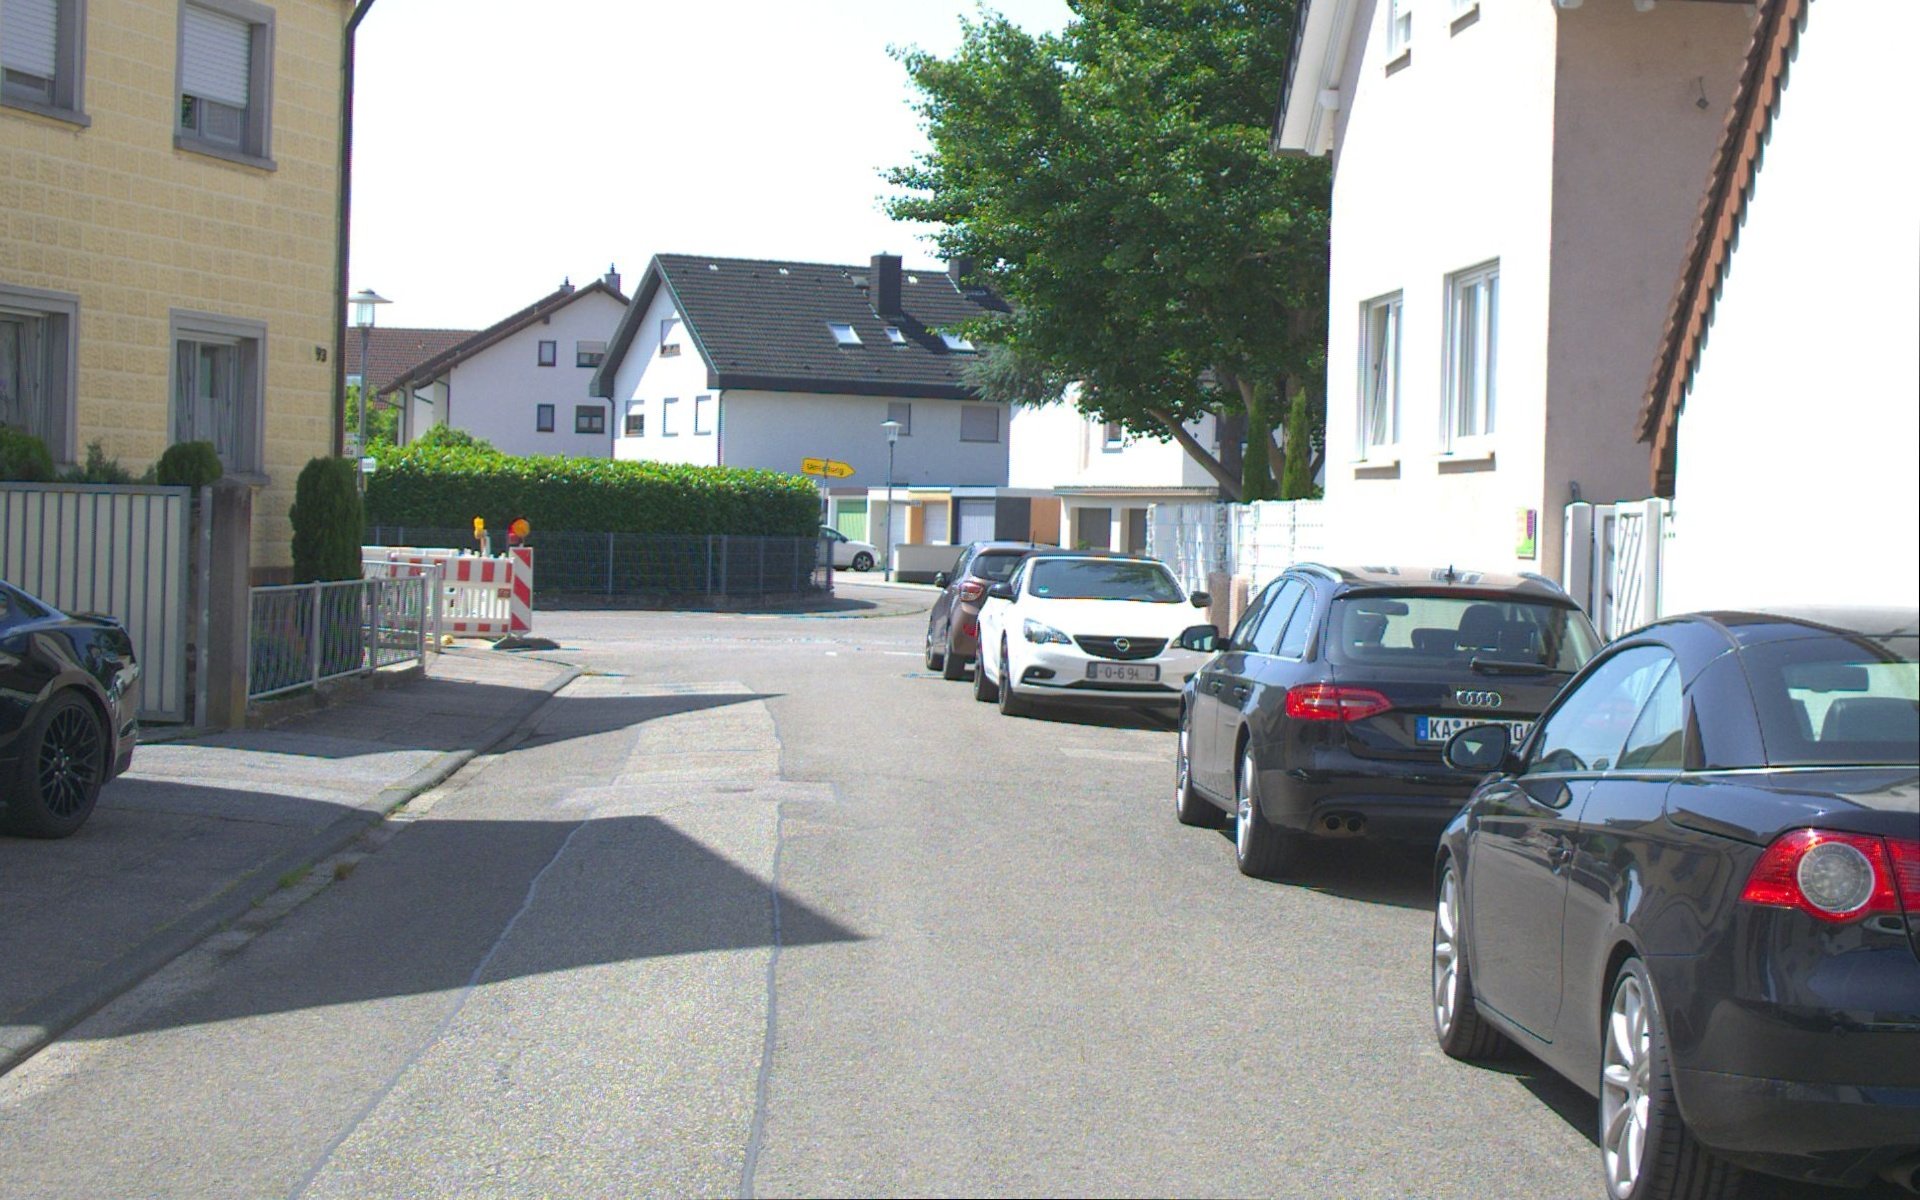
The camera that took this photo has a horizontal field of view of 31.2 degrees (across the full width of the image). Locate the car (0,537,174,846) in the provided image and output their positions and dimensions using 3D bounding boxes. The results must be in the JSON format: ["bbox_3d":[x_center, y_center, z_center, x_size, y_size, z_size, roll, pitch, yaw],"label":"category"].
[{"bbox_3d":[-5.225,0.365,14.539,1.771,1.345,4.466,2,1,15],"label":"car"}]

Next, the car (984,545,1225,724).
[{"bbox_3d":[1.222,0.253,31.047,1.895,1.424,4.737,2,1,0],"label":"car"}]

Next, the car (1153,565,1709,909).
[{"bbox_3d":[2.133,0.558,16.943,1.895,1.360,4.738,2,1,-2],"label":"car"}]

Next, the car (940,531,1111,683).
[{"bbox_3d":[0.673,0.035,37.914,1.712,1.527,4.036,2,1,0],"label":"car"}]

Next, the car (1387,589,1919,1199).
[{"bbox_3d":[2.374,0.716,8.944,1.895,1.360,4.414,2,1,0],"label":"car"}]

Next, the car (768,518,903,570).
[{"bbox_3d":[-3.758,-1.685,103.559,3.598,1.403,1.784,1,1,-25],"label":"car"}]
